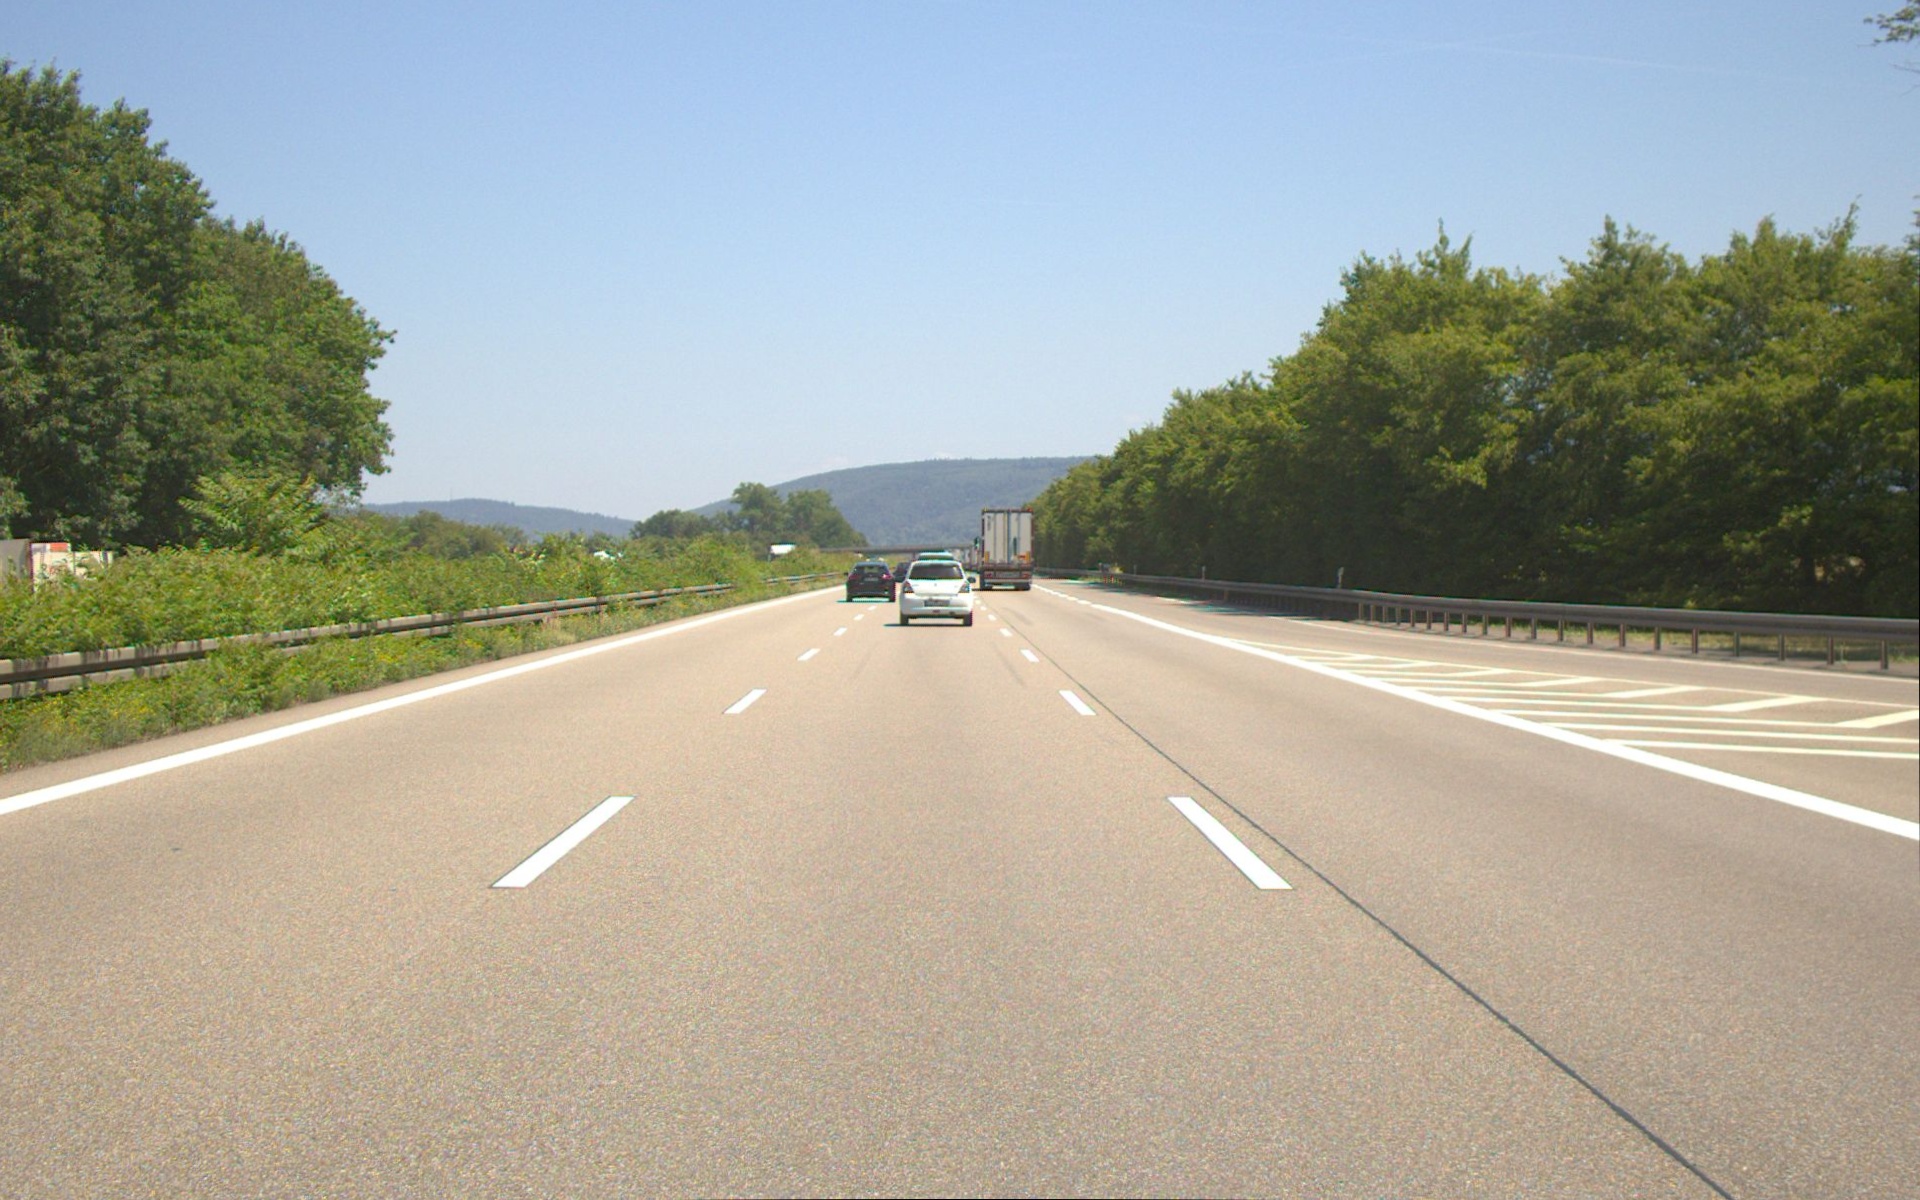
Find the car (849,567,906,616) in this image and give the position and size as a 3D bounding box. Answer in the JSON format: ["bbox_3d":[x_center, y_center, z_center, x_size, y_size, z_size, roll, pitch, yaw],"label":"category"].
[{"bbox_3d":[-2.978,-0.325,125.116,1.993,1.706,4.000,1,0,-1],"label":"car"}]

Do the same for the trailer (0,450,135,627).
[{"bbox_3d":[-20.930,-1.288,72.636,3.198,3.567,15.969,1,1,0],"label":"trailer"}]

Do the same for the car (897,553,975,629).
[{"bbox_3d":[-0.580,-0.230,79.976,1.732,1.678,4.000,-1,1,-1],"label":"car"}]

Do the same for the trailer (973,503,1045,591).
[{"bbox_3d":[2.590,-2.691,177.836,3.218,4.330,13.628,1,1,3],"label":"trailer"}]
